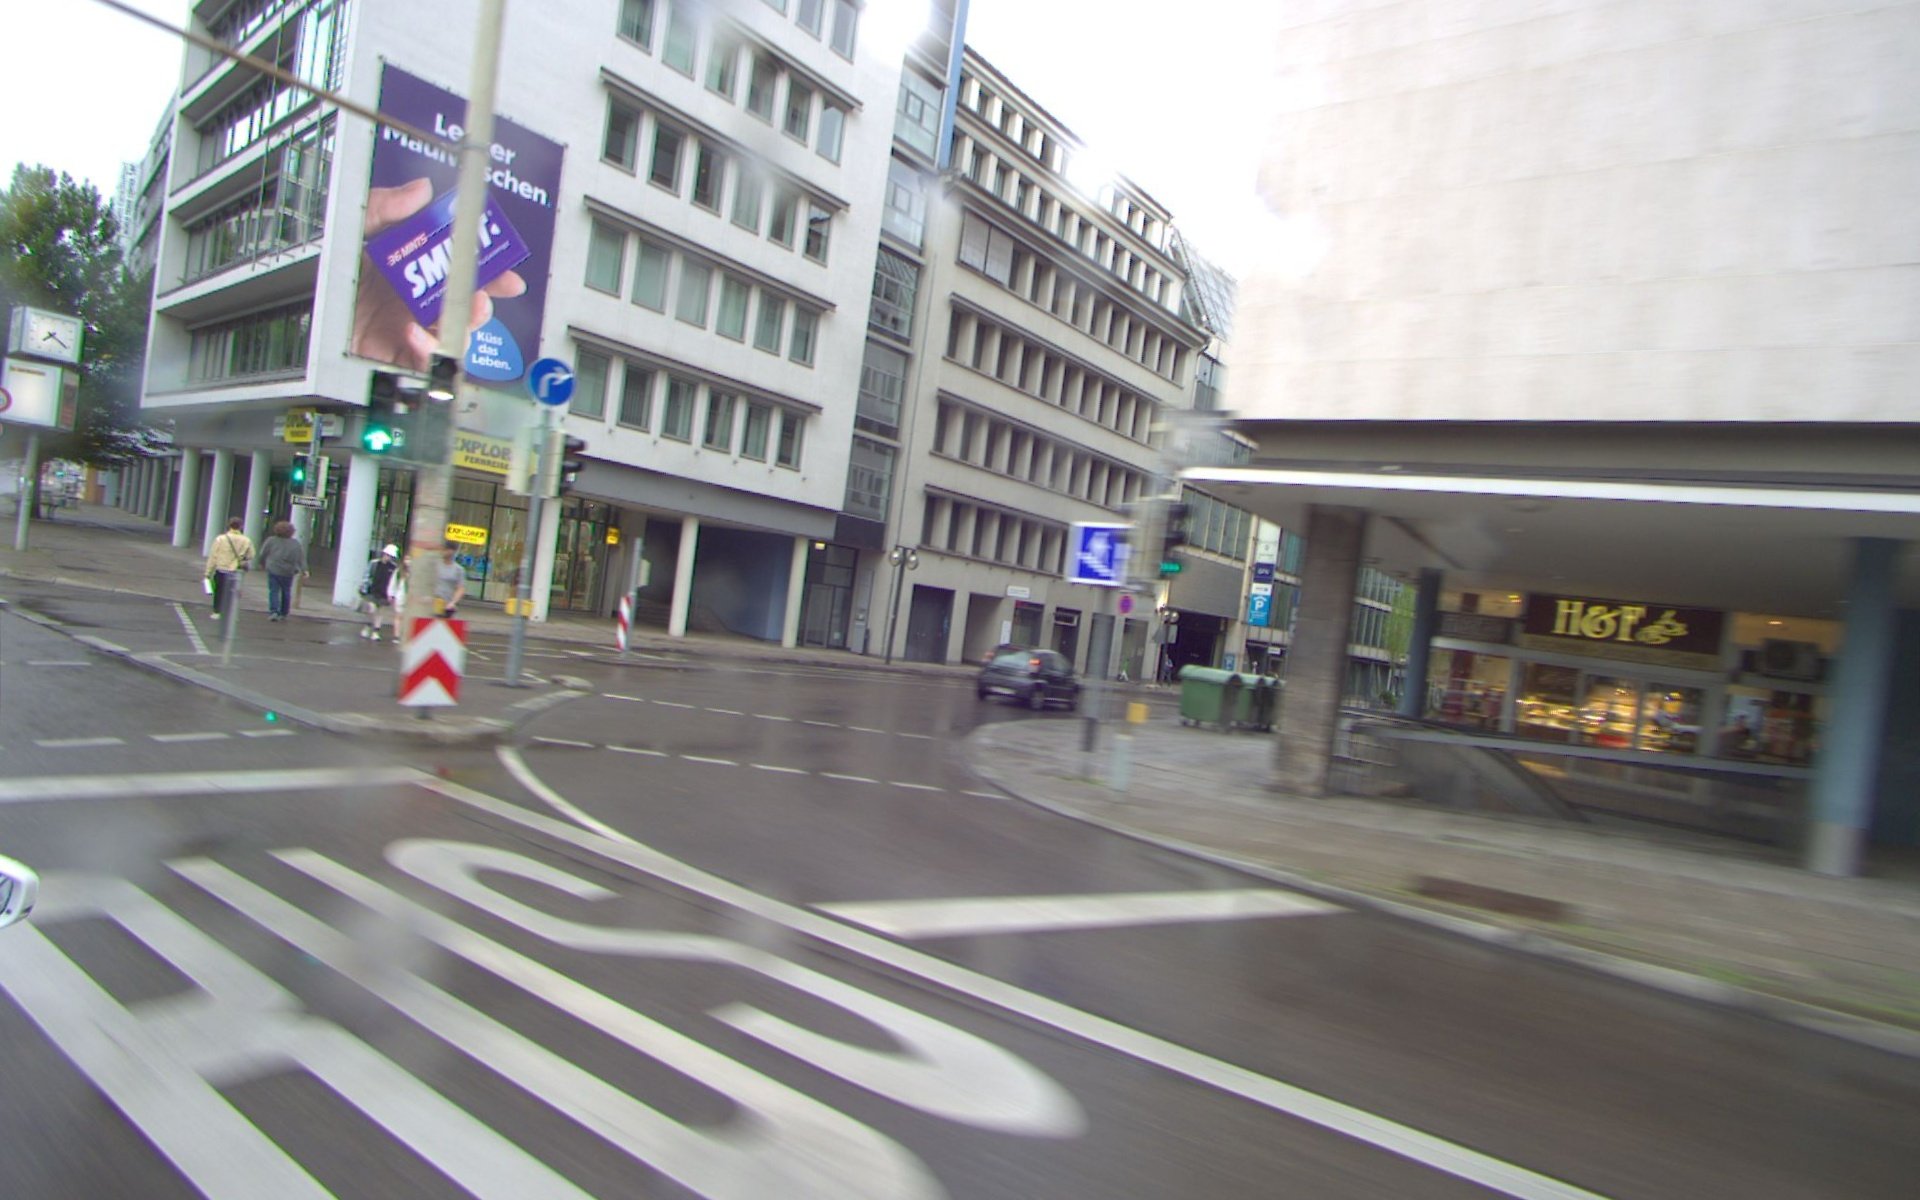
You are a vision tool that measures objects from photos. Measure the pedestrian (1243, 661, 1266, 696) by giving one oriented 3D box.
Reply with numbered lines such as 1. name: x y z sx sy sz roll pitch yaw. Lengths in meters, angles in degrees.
1. pedestrian: 16.989 4.541 58.109 0.807 1.895 0.852 7 -1 40

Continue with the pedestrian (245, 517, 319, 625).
1. pedestrian: -12.415 -0.529 18.418 0.805 1.819 0.748 8 0 40

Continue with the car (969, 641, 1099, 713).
1. car: 1.920 1.944 24.864 1.549 1.445 3.997 6 -3 29

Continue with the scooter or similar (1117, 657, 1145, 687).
1. scooter or similar: 8.429 3.563 49.578 1.175 1.304 0.243 8 -1 -10

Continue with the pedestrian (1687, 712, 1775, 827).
1. pedestrian: 13.401 2.926 17.510 0.697 1.825 0.801 8 -1 1

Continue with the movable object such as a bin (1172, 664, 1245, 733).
1. movable object such as a bin: 5.990 2.376 24.254 1.263 1.447 0.965 8 0 41

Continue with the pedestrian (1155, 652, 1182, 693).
1. pedestrian: 10.422 3.625 50.270 0.807 1.895 0.852 7 -1 40

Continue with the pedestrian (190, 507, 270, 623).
1. pedestrian: -12.303 -0.592 16.947 0.805 1.819 0.748 8 0 40

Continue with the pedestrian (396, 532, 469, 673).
1. pedestrian: -7.238 0.028 13.840 0.663 1.815 0.768 8 -1 -27

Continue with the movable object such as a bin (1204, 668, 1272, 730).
1. movable object such as a bin: 7.241 2.575 26.204 1.182 1.399 1.099 8 0 41

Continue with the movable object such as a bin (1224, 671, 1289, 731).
1. movable object such as a bin: 8.005 2.724 27.125 1.182 1.399 1.099 8 0 41

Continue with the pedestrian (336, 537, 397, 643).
1. pedestrian: -10.019 -0.163 17.003 0.663 1.675 0.649 8 -1 -27

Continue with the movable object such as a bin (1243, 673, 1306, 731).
1. movable object such as a bin: 8.748 2.840 27.992 1.182 1.399 1.099 8 0 41

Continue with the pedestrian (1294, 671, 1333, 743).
1. pedestrian: 9.065 2.734 25.813 0.587 1.752 0.771 7 -1 34

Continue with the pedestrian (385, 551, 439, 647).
1. pedestrian: -9.423 -0.024 17.328 0.619 1.561 0.649 8 -1 -27

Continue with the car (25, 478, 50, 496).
1. car: -131.784 -16.112 143.671 3.944 2.036 1.993 5 -3 40
